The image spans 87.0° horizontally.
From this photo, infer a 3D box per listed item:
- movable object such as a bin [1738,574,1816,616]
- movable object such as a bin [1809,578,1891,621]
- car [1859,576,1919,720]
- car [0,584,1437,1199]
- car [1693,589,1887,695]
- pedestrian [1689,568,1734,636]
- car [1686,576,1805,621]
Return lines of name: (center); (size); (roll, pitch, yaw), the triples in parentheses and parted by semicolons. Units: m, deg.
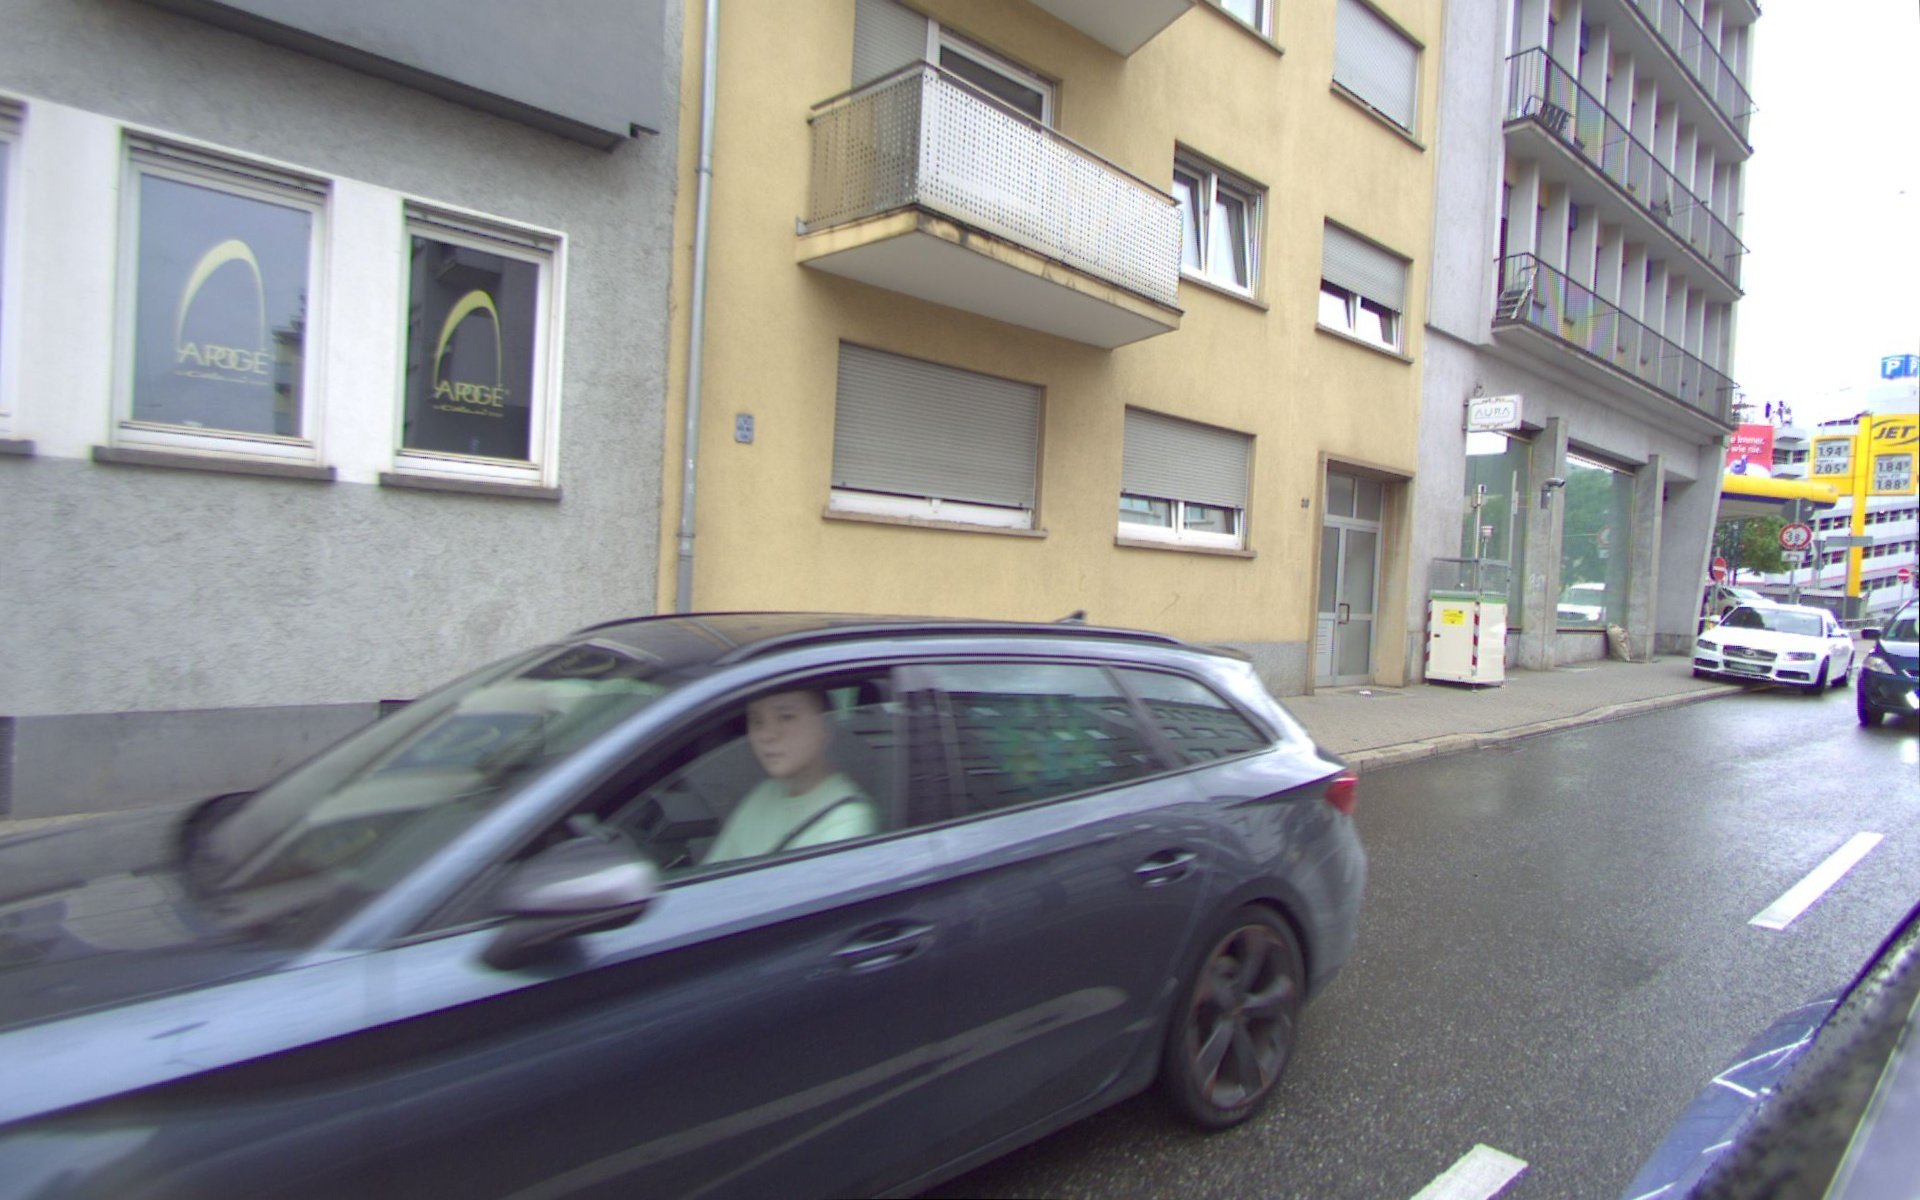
movable object such as a bin: (34.457, -0.228, 42.702); (1.741, 1.574, 2.162); (1, 4, -39)
movable object such as a bin: (35.995, -0.040, 40.938); (1.741, 1.593, 2.162); (1, 3, -39)
car: (12.957, 0.601, 12.751); (3.928, 1.677, 1.845); (1, 1, -40)
car: (-0.621, 0.701, 2.683); (4.502, 1.405, 1.737); (1, 1, -41)
car: (14.874, 0.670, 18.044); (4.529, 1.418, 1.898); (1, 7, -42)
pedestrian: (20.598, 0.047, 27.739); (0.648, 1.792, 0.529); (4, 4, 8)
car: (31.333, -0.116, 40.513); (1.715, 1.459, 3.998); (3, 4, 4)
